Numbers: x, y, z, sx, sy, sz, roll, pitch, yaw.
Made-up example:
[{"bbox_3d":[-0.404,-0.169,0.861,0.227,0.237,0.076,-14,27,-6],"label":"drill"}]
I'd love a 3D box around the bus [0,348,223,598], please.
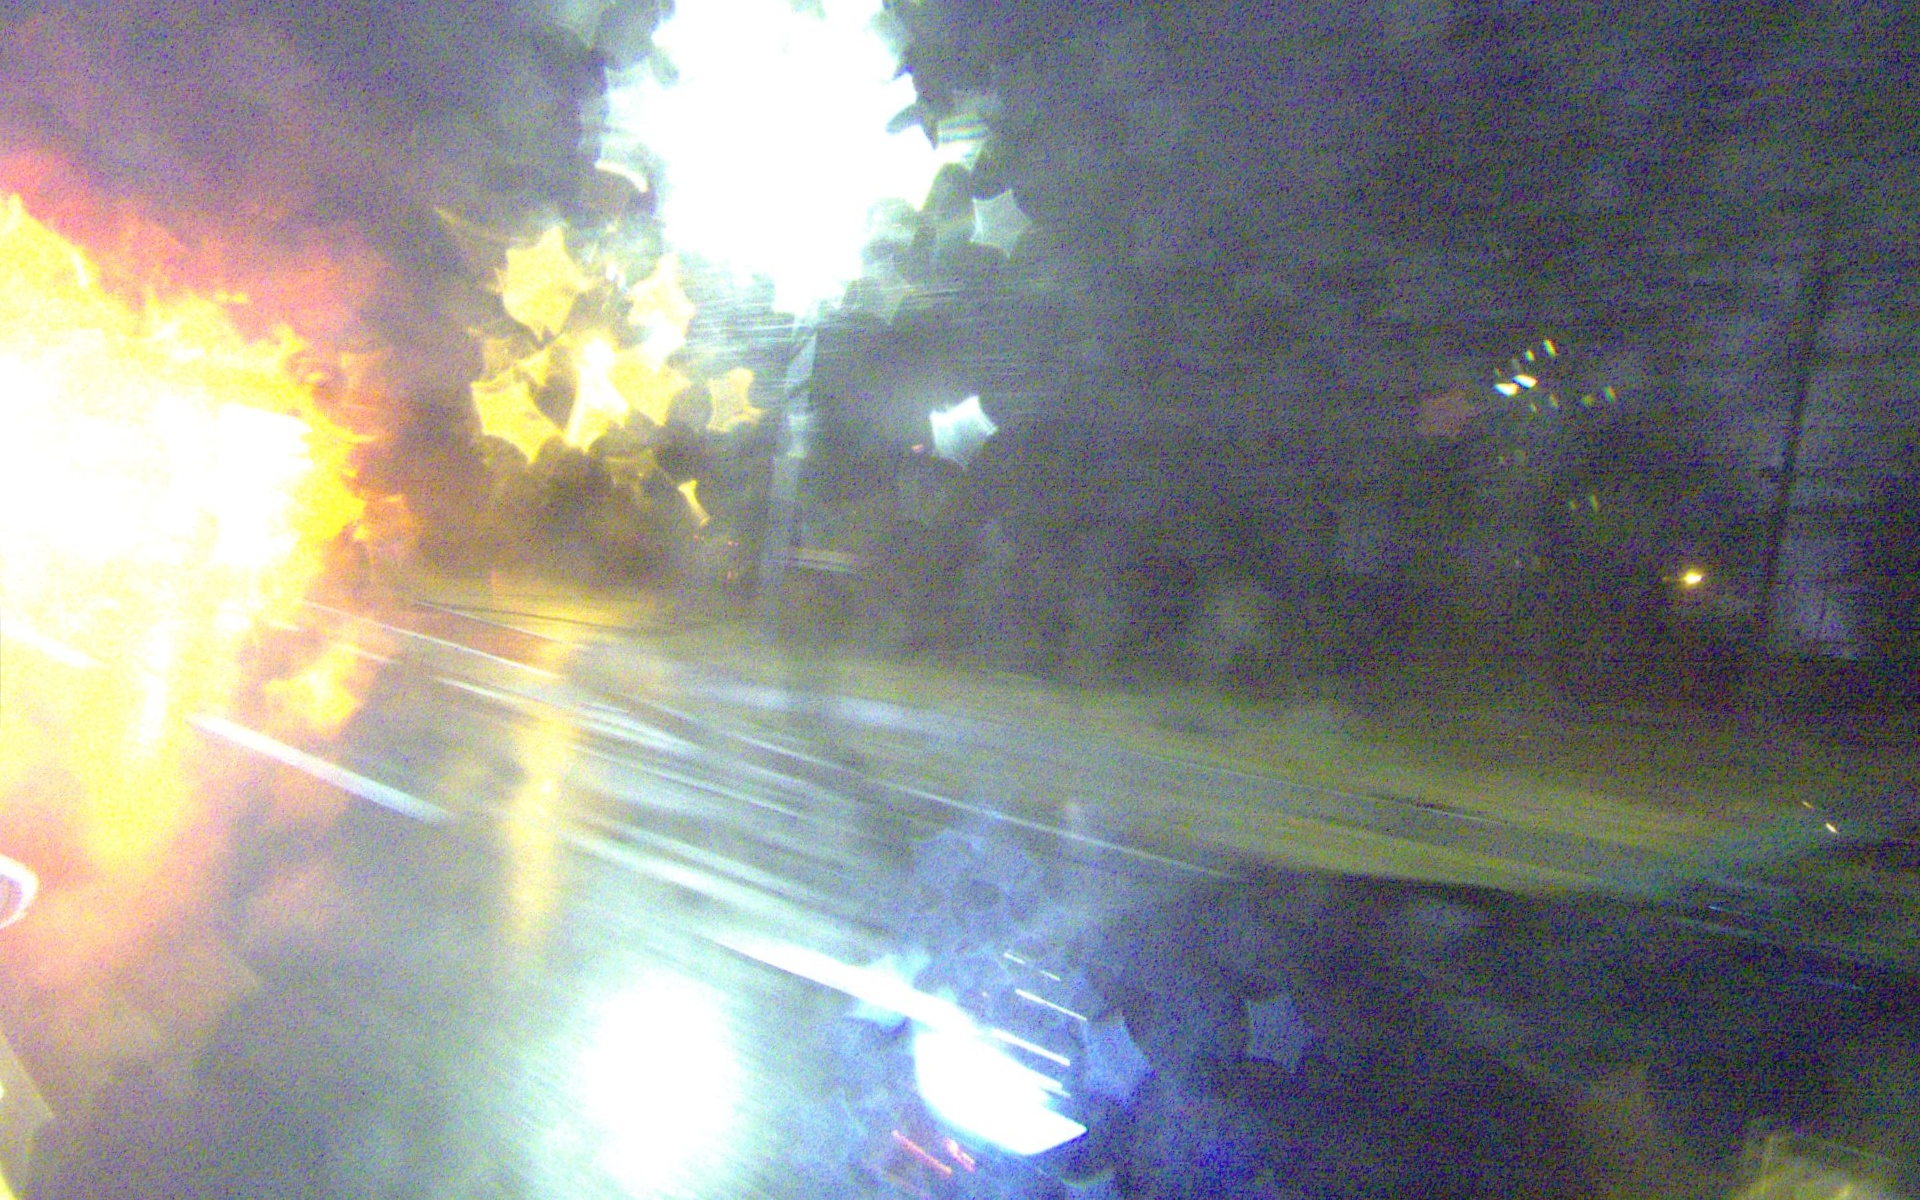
[{"bbox_3d":[-16.339,-2.242,17.873,8.921,3.251,3.041,7,-1,41],"label":"bus"}]

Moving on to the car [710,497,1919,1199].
[{"bbox_3d":[1.854,0.917,1.420,3.929,1.542,2.000,7,-2,26],"label":"car"}]

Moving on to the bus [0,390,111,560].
[{"bbox_3d":[-23.042,-3.087,23.690,8.920,3.251,3.041,7,-1,41],"label":"bus"}]
